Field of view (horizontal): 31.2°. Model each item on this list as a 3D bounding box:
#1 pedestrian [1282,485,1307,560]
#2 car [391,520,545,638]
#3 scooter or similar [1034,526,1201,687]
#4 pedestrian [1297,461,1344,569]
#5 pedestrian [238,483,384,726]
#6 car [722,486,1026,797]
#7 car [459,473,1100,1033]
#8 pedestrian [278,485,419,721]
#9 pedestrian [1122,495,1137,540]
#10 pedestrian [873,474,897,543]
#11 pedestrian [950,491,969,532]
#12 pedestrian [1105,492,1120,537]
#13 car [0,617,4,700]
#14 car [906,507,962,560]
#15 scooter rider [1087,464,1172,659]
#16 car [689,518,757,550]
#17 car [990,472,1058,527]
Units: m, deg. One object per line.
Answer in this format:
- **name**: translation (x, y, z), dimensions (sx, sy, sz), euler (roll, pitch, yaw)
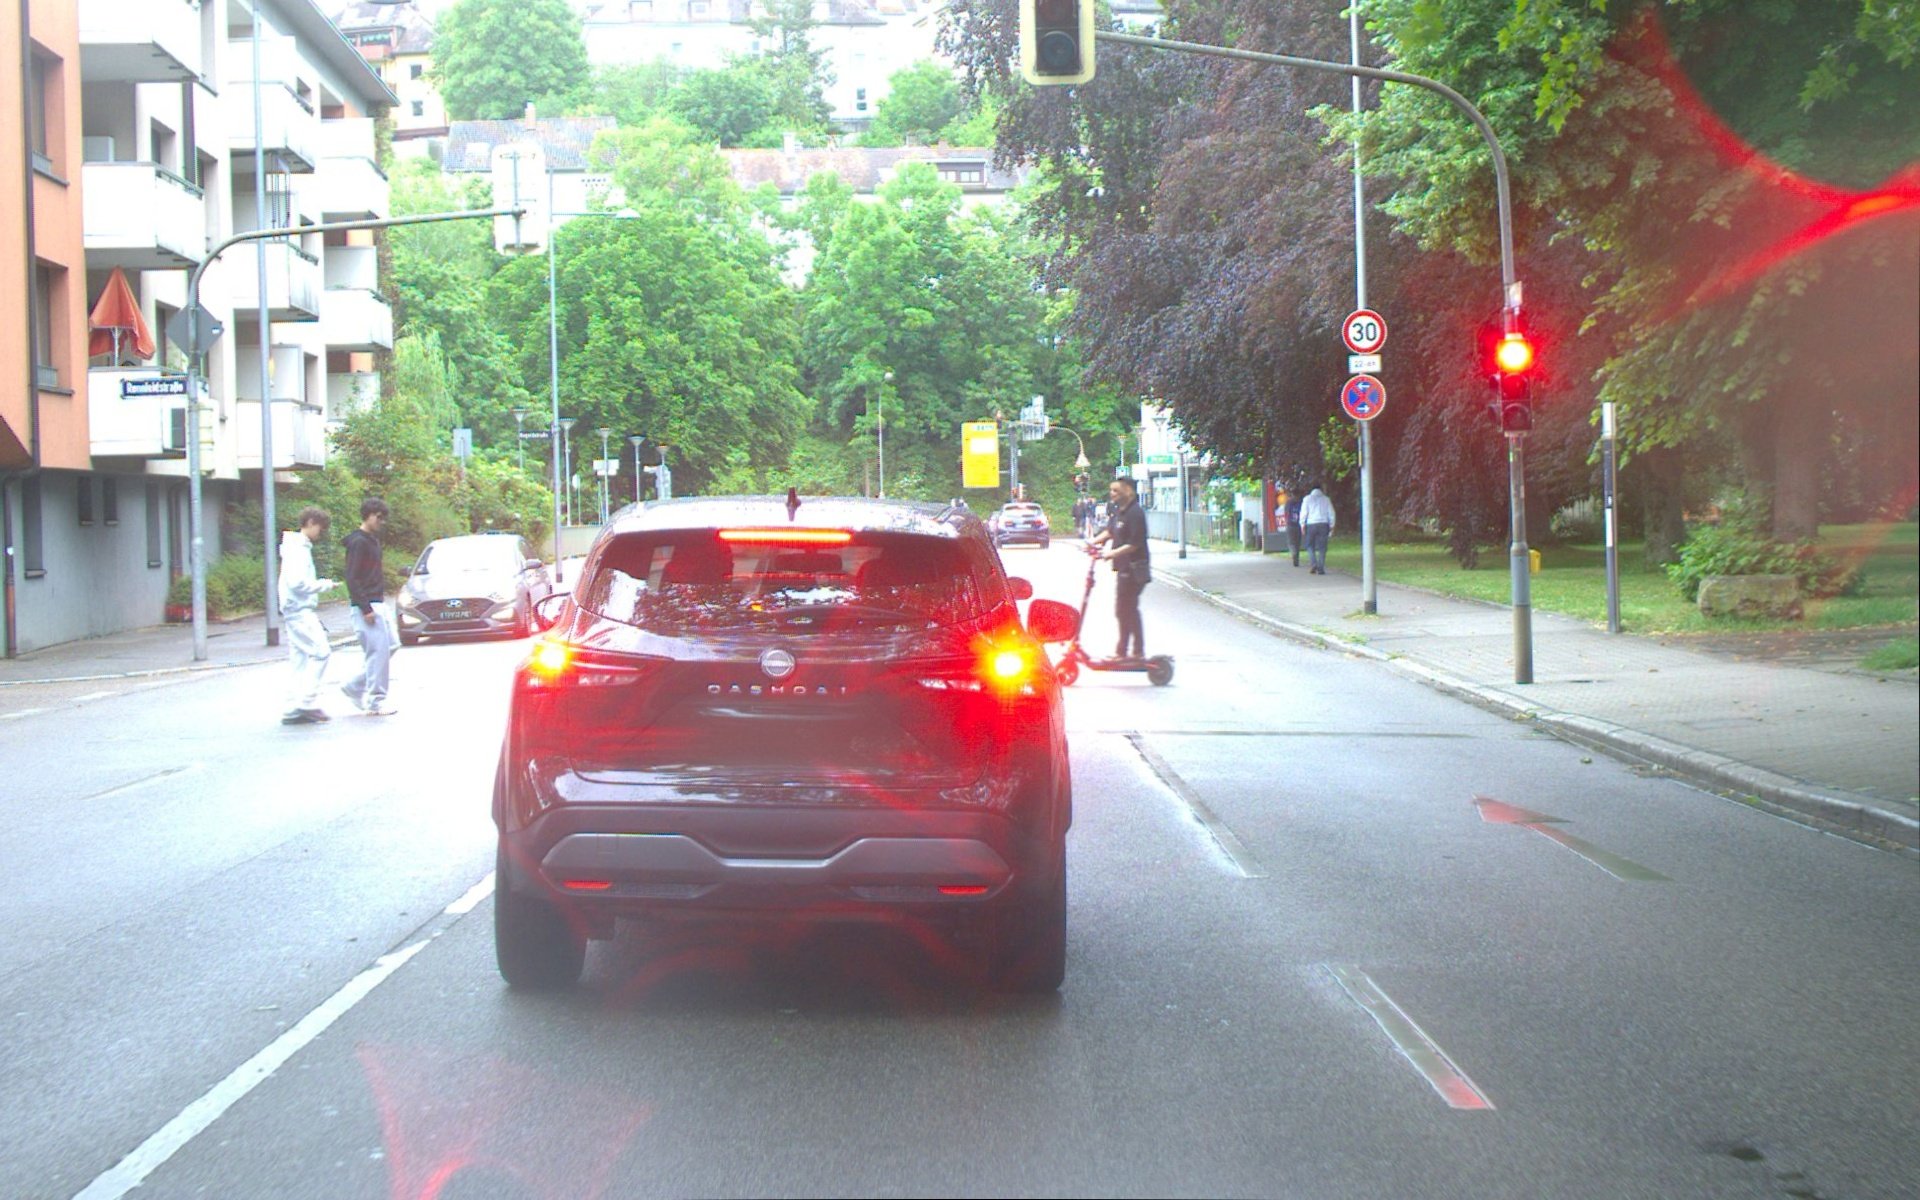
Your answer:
- **pedestrian**: translation (6.687, -1.549, 68.772), dimensions (0.390, 1.497, 0.559), euler (-2, 1, 0)
- **car**: translation (-6.841, -0.328, 48.124), dimensions (1.795, 1.528, 3.868), euler (-2, 1, -4)
- **scooter or similar**: translation (1.451, 0.059, 31.589), dimensions (1.394, 1.441, 0.816), euler (-1, 0, 12)
- **pedestrian**: translation (6.784, -1.599, 64.687), dimensions (0.725, 2.007, 0.851), euler (-2, 1, 0)
- **pedestrian**: translation (-5.190, 0.026, 27.509), dimensions (1.035, 1.869, 0.658), euler (-3, 2, -11)
- **car**: translation (-0.513, 0.192, 21.680), dimensions (1.698, 1.739, 3.641), euler (-2, 1, 0)
- **car**: translation (-0.557, 0.409, 12.311), dimensions (1.913, 1.674, 4.000), euler (0, 1, 0)
- **pedestrian**: translation (-5.044, 0.015, 28.336), dimensions (1.035, 1.869, 0.658), euler (-3, 2, -11)
- **pedestrian**: translation (6.798, -3.322, 137.871), dimensions (0.508, 1.795, 0.619), euler (-2, 1, -1)
- **pedestrian**: translation (-1.968, -2.398, 90.329), dimensions (0.508, 1.795, 0.620), euler (-2, 1, -7)
- **pedestrian**: translation (-0.017, -3.656, 142.347), dimensions (0.509, 1.667, 0.658), euler (-1, 2, 28)
- **pedestrian**: translation (6.107, -3.423, 137.612), dimensions (0.508, 1.795, 0.619), euler (-2, 1, 0)
- **car**: translation (-11.525, 0.259, 32.894), dimensions (4.125, 1.620, 1.851), euler (-2, 1, 6)
- **car**: translation (-0.814, -2.065, 105.804), dimensions (1.634, 1.527, 3.968), euler (-2, 2, 0)
- **scooter rider**: translation (1.560, -0.347, 31.590), dimensions (0.643, 1.760, 0.735), euler (-1, 0, 12)
- **car**: translation (-12.639, -3.527, 183.333), dimensions (3.475, 1.579, 1.642), euler (-2, 1, -7)
- **car**: translation (2.142, -3.307, 113.893), dimensions (1.994, 1.729, 4.000), euler (1, 1, 4)
